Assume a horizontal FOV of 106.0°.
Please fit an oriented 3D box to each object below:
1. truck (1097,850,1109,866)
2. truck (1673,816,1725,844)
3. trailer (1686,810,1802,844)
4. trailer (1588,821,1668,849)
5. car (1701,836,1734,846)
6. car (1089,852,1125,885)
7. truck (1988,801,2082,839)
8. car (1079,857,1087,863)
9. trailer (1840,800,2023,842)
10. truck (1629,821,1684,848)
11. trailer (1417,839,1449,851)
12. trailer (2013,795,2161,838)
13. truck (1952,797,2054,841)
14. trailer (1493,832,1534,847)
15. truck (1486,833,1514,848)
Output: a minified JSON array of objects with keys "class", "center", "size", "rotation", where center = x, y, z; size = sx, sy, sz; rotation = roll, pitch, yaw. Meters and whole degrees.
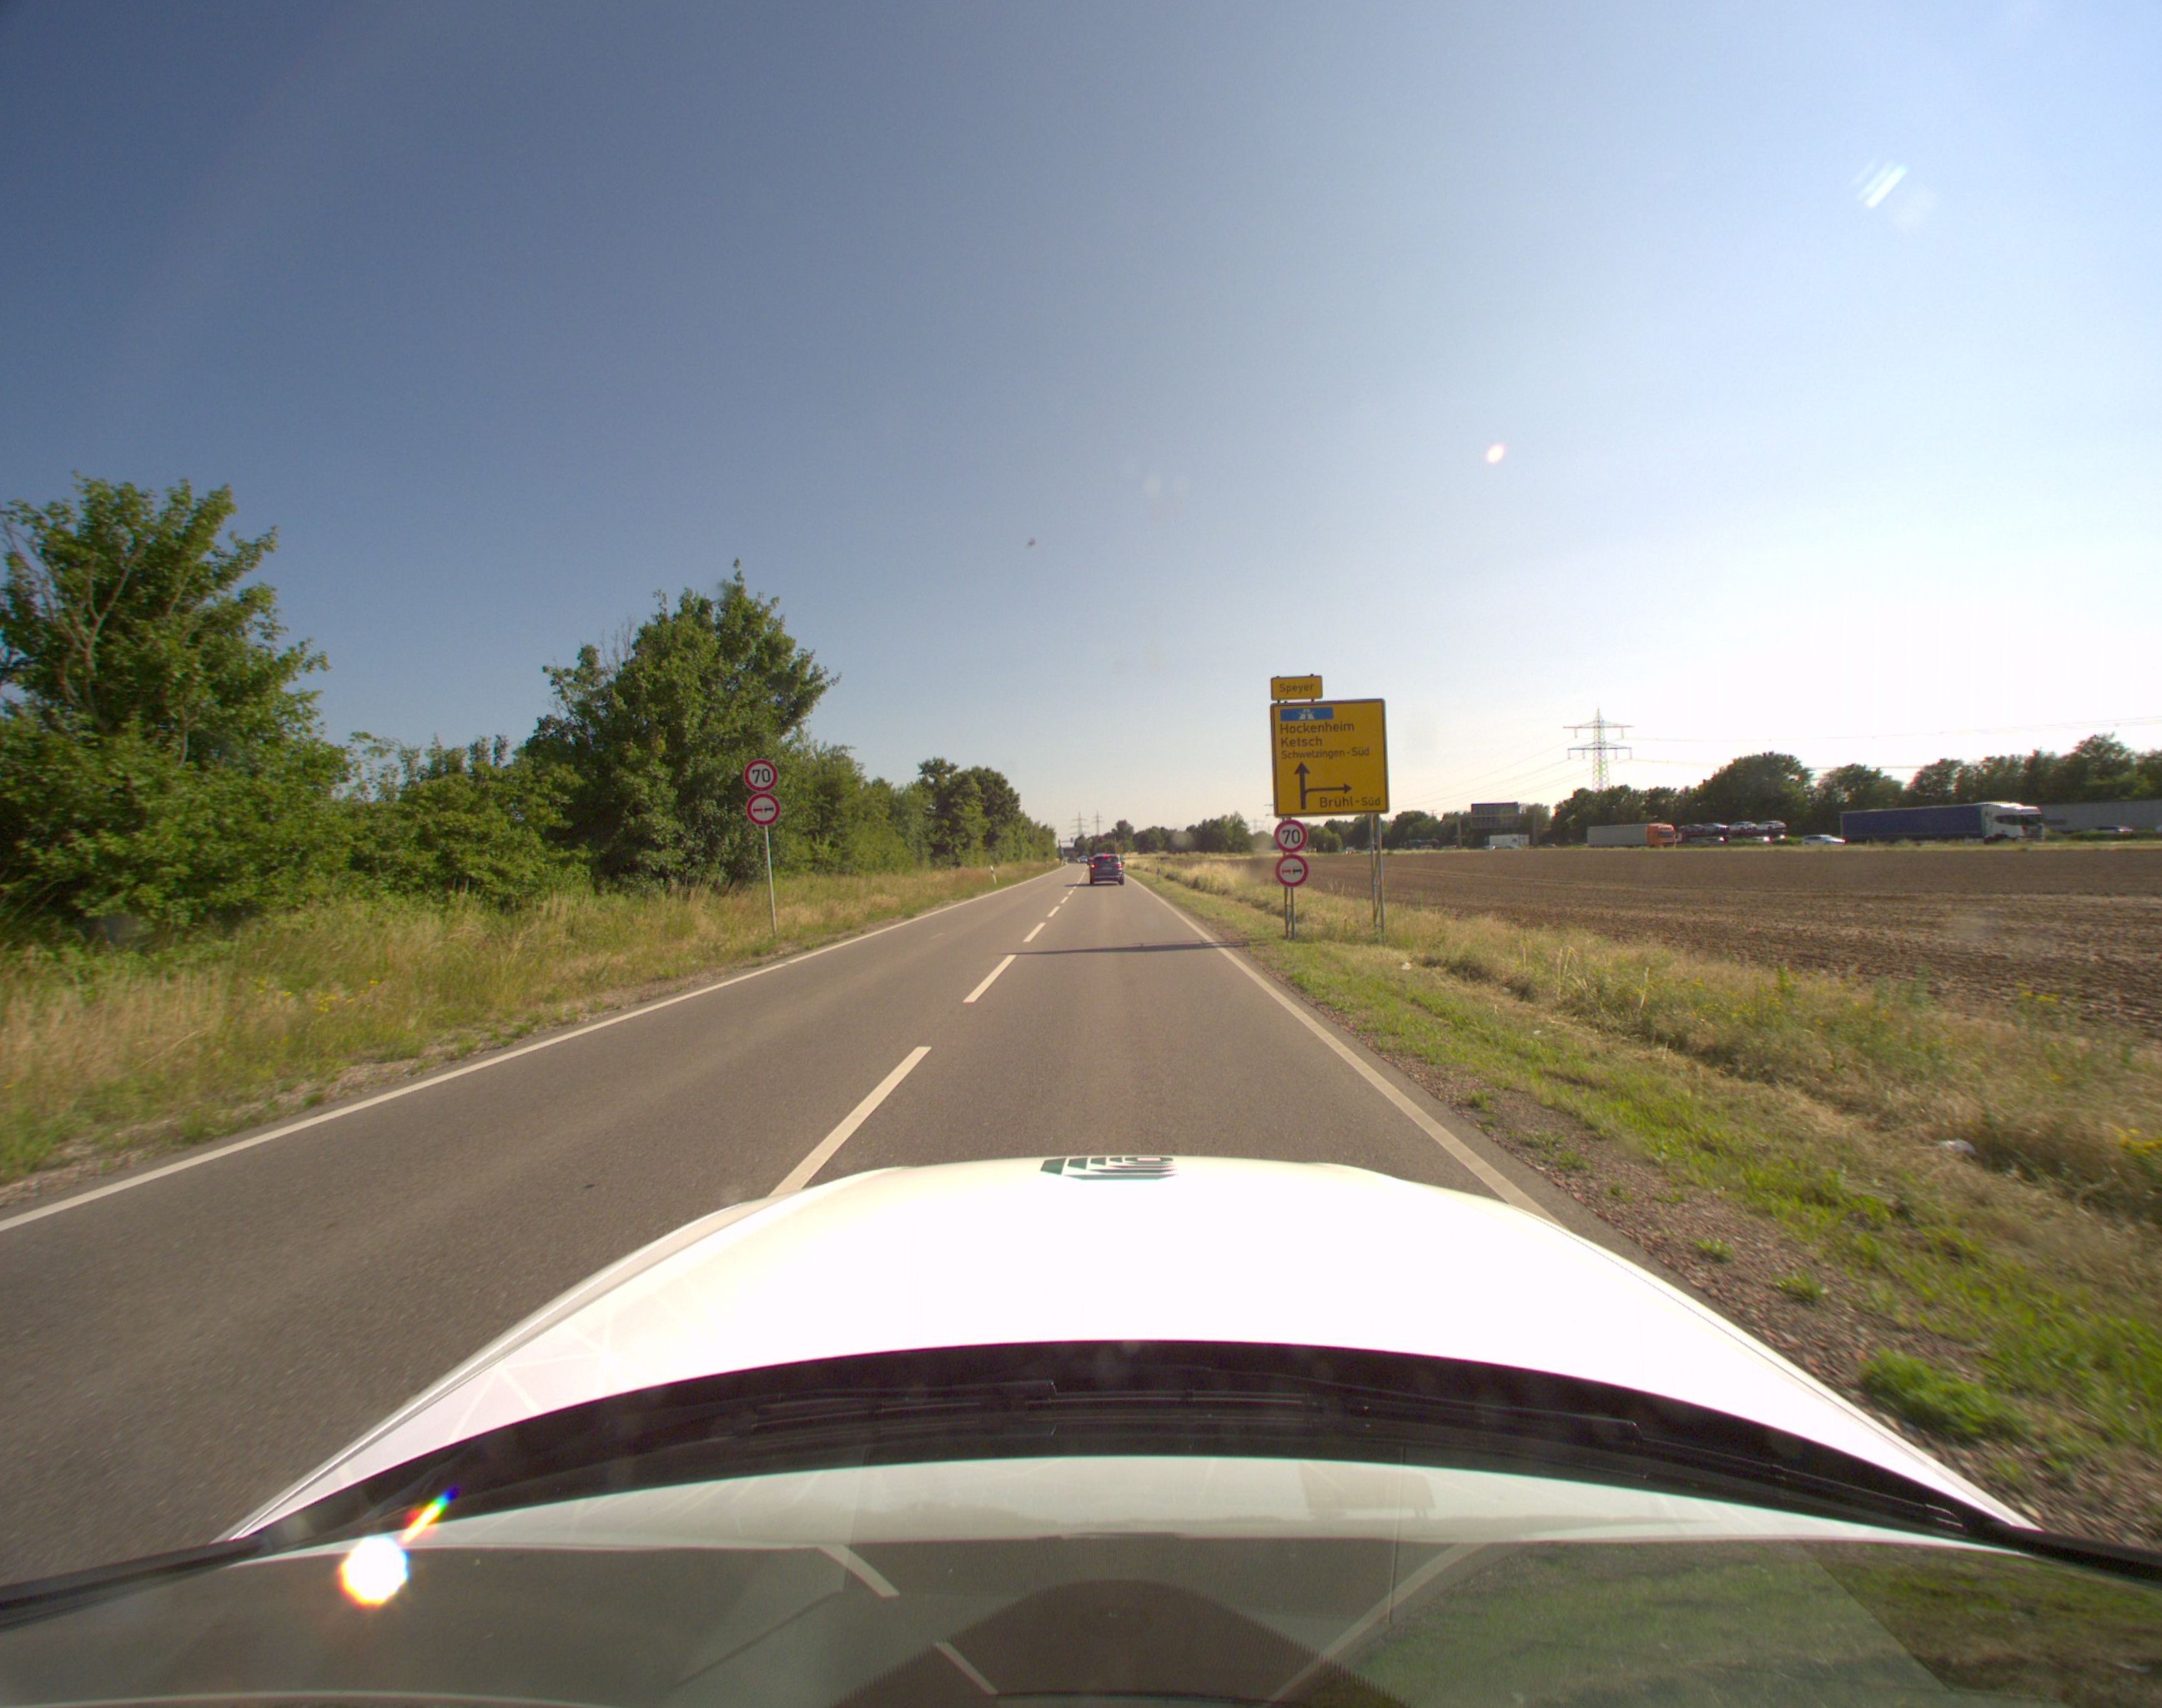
[{"class":"truck","center":[4.496,0.854,165.779],"size":[2.329,3.066,5.811],"rotation":[-1,-1,2]},{"class":"truck","center":[103.412,-3.956,136.368],"size":[3.411,4.452,6.702],"rotation":[-2,-1,-1]},{"class":"trailer","center":[103.575,-4.030,128.018],"size":[3.411,4.452,17.554],"rotation":[-2,0,-1]},{"class":"trailer","center":[84.831,-2.825,126.699],"size":[3.094,3.849,13.714],"rotation":[-1,0,-1]},{"class":"car","center":[96.849,-2.003,123.982],"size":[1.844,1.385,4.248],"rotation":[-1,0,0]},{"class":"car","center":[1.317,0.754,43.260],"size":[1.779,1.629,4.000],"rotation":[-2,0,0]},{"class":"truck","center":[102.858,-3.597,87.996],"size":[3.060,3.733,6.090],"rotation":[-1,0,2]},{"class":"car","center":[0.620,1.516,217.761],"size":[1.812,1.540,3.996],"rotation":[-2,0,-3]},{"class":"trailer","center":[84.552,-3.096,81.741],"size":[3.062,3.802,14.588],"rotation":[-1,1,-1]},{"class":"truck","center":[84.899,-2.831,120.222],"size":[3.094,3.849,6.948],"rotation":[-1,0,-1]},{"class":"trailer","center":[102.965,-2.473,238.339],"size":[3.274,3.267,13.450],"rotation":[-2,0,0]},{"class":"trailer","center":[102.599,-3.624,81.653],"size":[3.060,3.733,13.637],"rotation":[-1,0,2]},{"class":"truck","center":[84.637,-3.116,74.903],"size":[3.063,3.802,5.610],"rotation":[-1,1,-1]},{"class":"trailer","center":[103.907,-3.383,195.985],"size":[3.274,3.267,12.452],"rotation":[-2,0,0]},{"class":"truck","center":[103.844,-3.334,201.925],"size":[3.274,3.267,6.977],"rotation":[-2,-1,0]}]
